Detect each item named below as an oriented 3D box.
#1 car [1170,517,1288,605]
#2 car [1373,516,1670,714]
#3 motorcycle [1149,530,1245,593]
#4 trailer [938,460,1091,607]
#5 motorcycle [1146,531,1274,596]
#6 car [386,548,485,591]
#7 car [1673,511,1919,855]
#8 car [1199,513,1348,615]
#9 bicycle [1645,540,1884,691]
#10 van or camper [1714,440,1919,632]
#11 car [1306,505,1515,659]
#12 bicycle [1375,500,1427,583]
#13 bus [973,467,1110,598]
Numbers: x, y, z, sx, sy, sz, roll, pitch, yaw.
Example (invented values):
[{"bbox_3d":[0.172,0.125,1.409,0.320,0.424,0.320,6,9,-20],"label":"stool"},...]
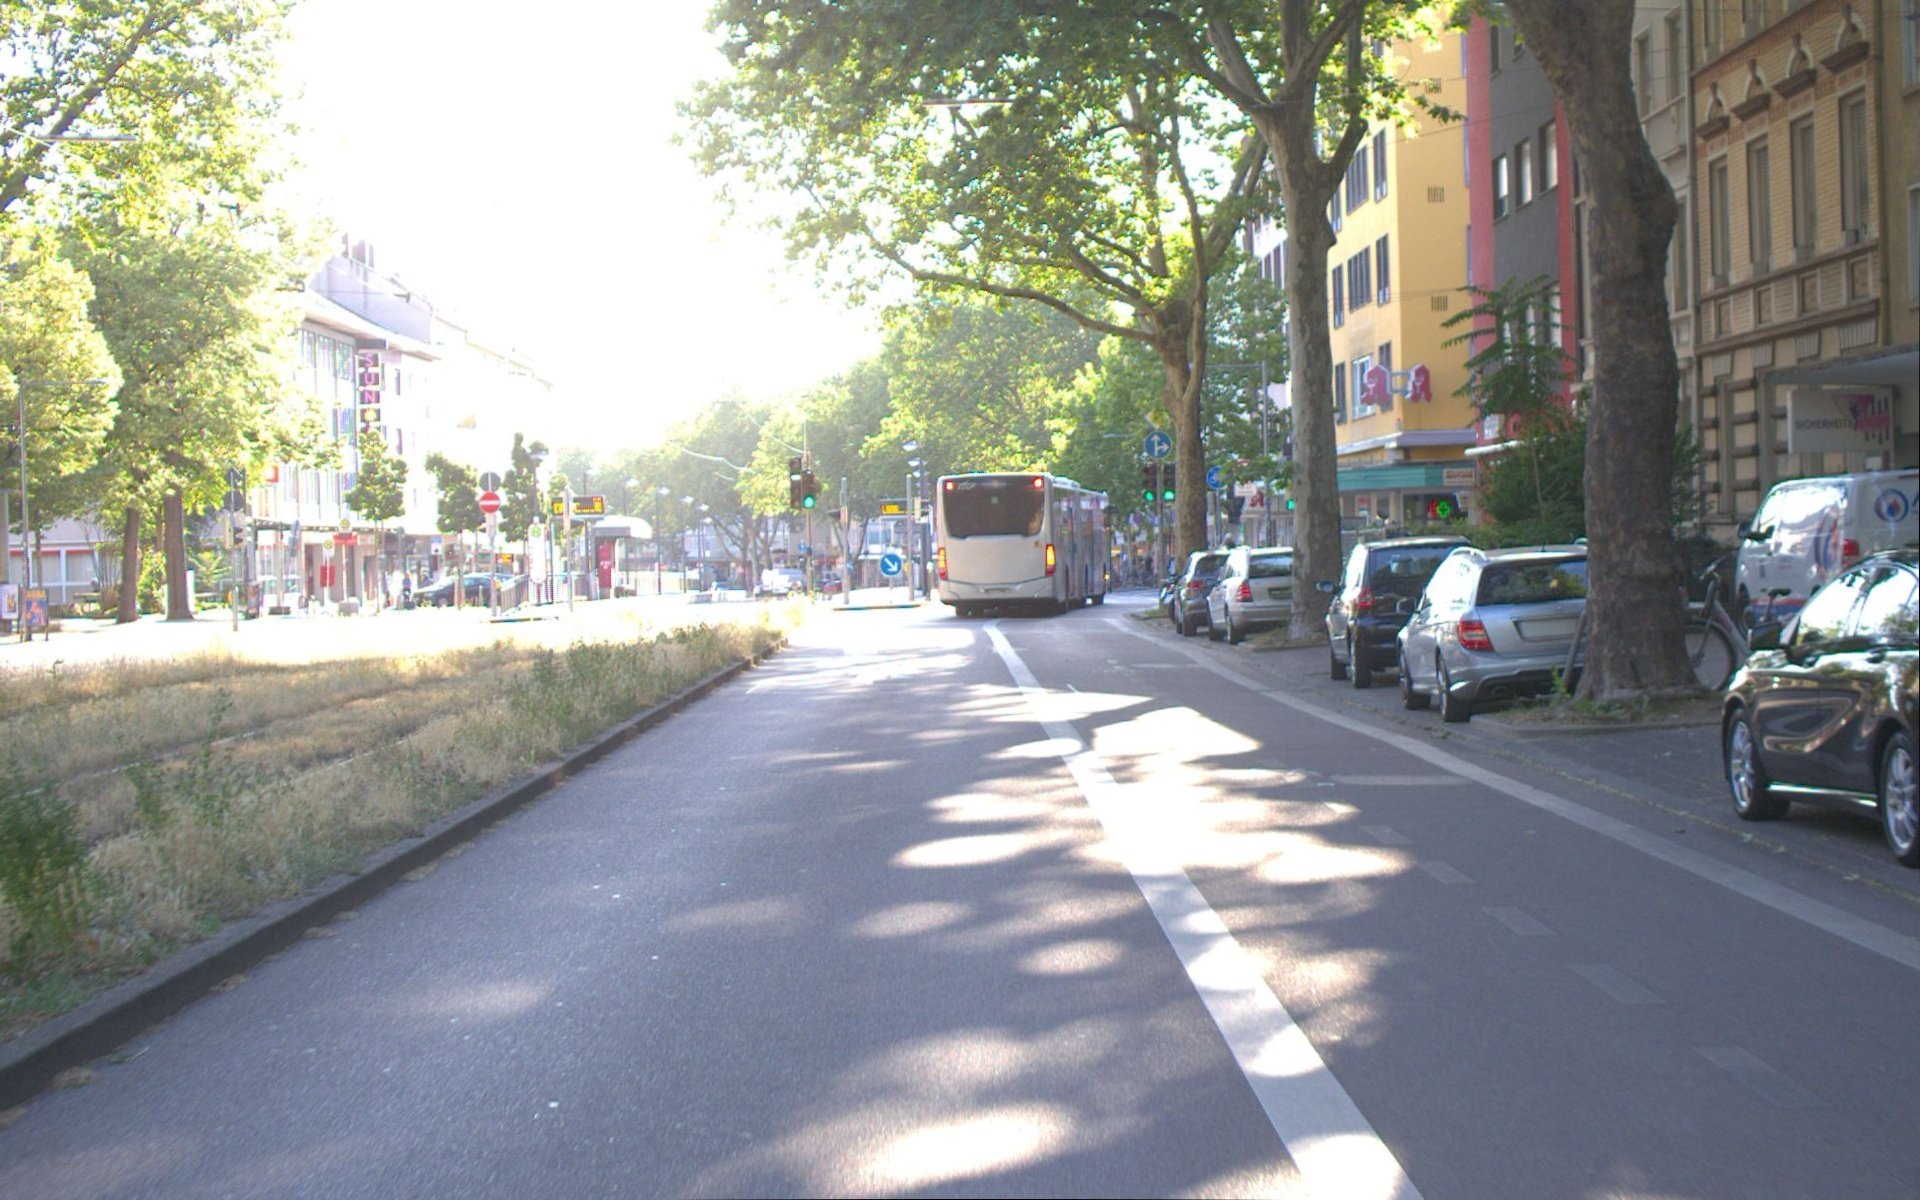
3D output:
[{"bbox_3d":[4.566,-0.698,58.886,1.710,1.392,4.321,-2,1,1],"label":"car"},{"bbox_3d":[4.813,0.066,30.074,1.694,1.537,4.777,-2,1,-1],"label":"car"},{"bbox_3d":[4.580,-0.750,66.409,1.993,1.148,0.601,-3,2,-42],"label":"motorcycle"},{"bbox_3d":[1.315,-1.483,77.205,2.812,3.099,8.793,0,1,5],"label":"trailer"},{"bbox_3d":[4.670,-0.685,64.233,2.205,1.059,0.767,-4,2,-22],"label":"motorcycle"},{"bbox_3d":[-23.623,-1.374,154.849,3.986,1.809,2.000,-2,1,-26],"label":"car"},{"bbox_3d":[4.869,0.287,16.873,1.708,1.410,4.364,-4,1,-1],"label":"car"},{"bbox_3d":[4.751,-0.577,52.618,1.674,1.446,4.571,-2,1,-2],"label":"car"},{"bbox_3d":[6.264,0.102,26.895,0.769,1.127,2.082,0,1,-21],"label":"bicycle"},{"bbox_3d":[9.876,-0.740,37.561,1.942,1.916,5.392,-2,1,-1],"label":"van or camper"},{"bbox_3d":[4.894,-0.234,37.825,1.653,1.540,4.000,-2,1,-1],"label":"car"},{"bbox_3d":[7.777,-1.031,60.700,0.607,1.422,2.396,0,1,1],"label":"bicycle"},{"bbox_3d":[2.131,-1.678,86.115,2.812,3.091,9.093,0,1,5],"label":"bus"}]
